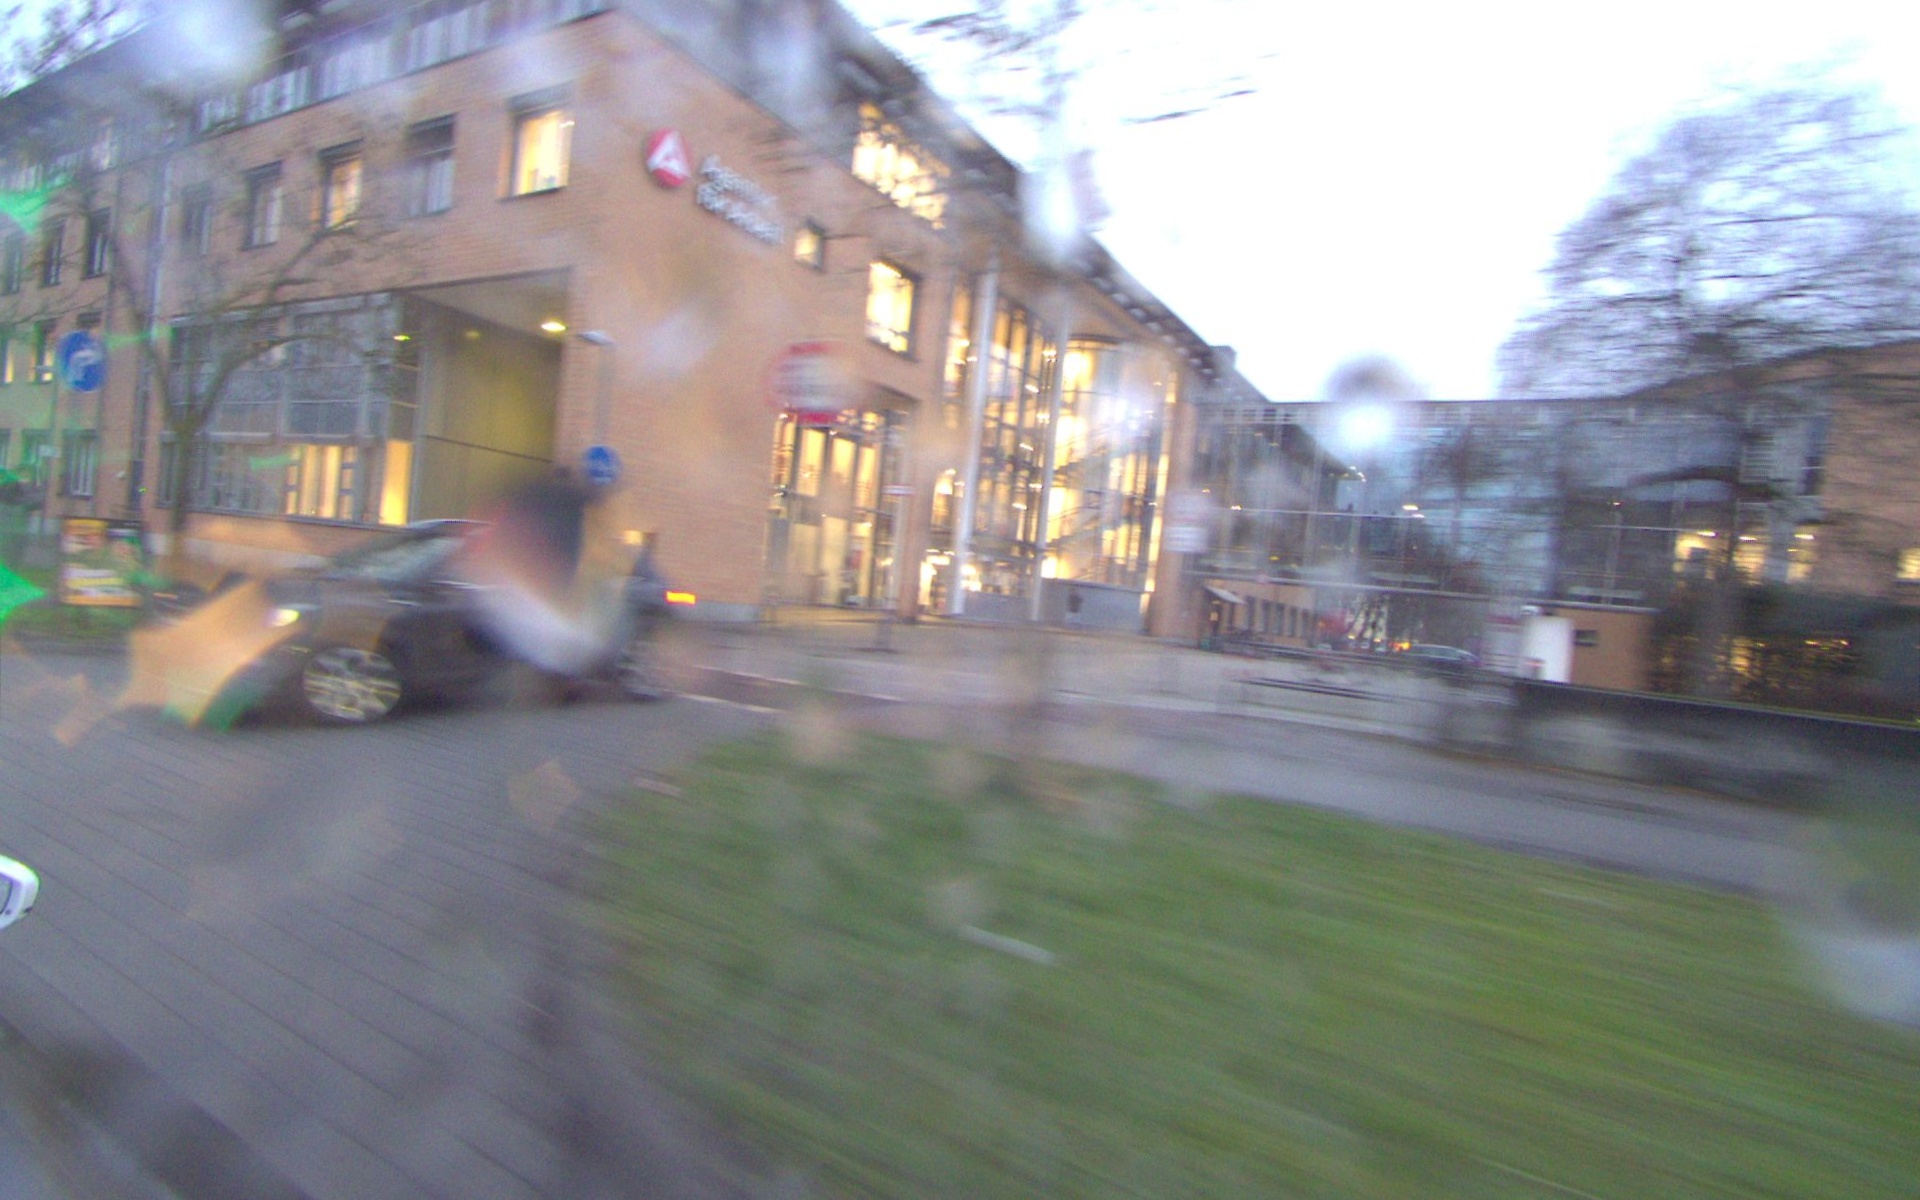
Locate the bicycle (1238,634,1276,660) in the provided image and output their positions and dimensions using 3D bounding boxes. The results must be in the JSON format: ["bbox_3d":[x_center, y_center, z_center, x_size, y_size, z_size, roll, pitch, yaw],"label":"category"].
[{"bbox_3d":[14.843,2.353,50.269,1.674,1.087,0.492,6,-1,31],"label":"bicycle"}]

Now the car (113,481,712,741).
[{"bbox_3d":[-4.198,0.088,8.364,1.714,1.576,3.987,6,1,33],"label":"car"}]

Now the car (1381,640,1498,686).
[{"bbox_3d":[20.021,2.624,42.043,3.943,1.416,1.990,6,1,40],"label":"car"}]

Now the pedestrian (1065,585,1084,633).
[{"bbox_3d":[4.465,0.354,39.312,0.498,1.808,0.502,6,2,16],"label":"pedestrian"}]

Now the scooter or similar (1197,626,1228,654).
[{"bbox_3d":[11.128,1.773,44.326,1.196,1.087,0.393,6,-1,26],"label":"scooter or similar"}]

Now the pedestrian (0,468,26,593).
[{"bbox_3d":[-13.959,-1.018,14.370,0.645,1.765,0.505,5,2,-1],"label":"pedestrian"}]

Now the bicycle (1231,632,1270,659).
[{"bbox_3d":[14.167,2.222,49.040,1.674,1.087,0.492,6,-1,31],"label":"bicycle"}]

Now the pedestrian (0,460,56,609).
[{"bbox_3d":[-12.119,-0.836,12.816,0.645,1.848,0.505,6,2,6],"label":"pedestrian"}]

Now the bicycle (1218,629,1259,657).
[{"bbox_3d":[12.975,1.994,46.940,1.674,1.087,0.492,6,-1,31],"label":"bicycle"}]
